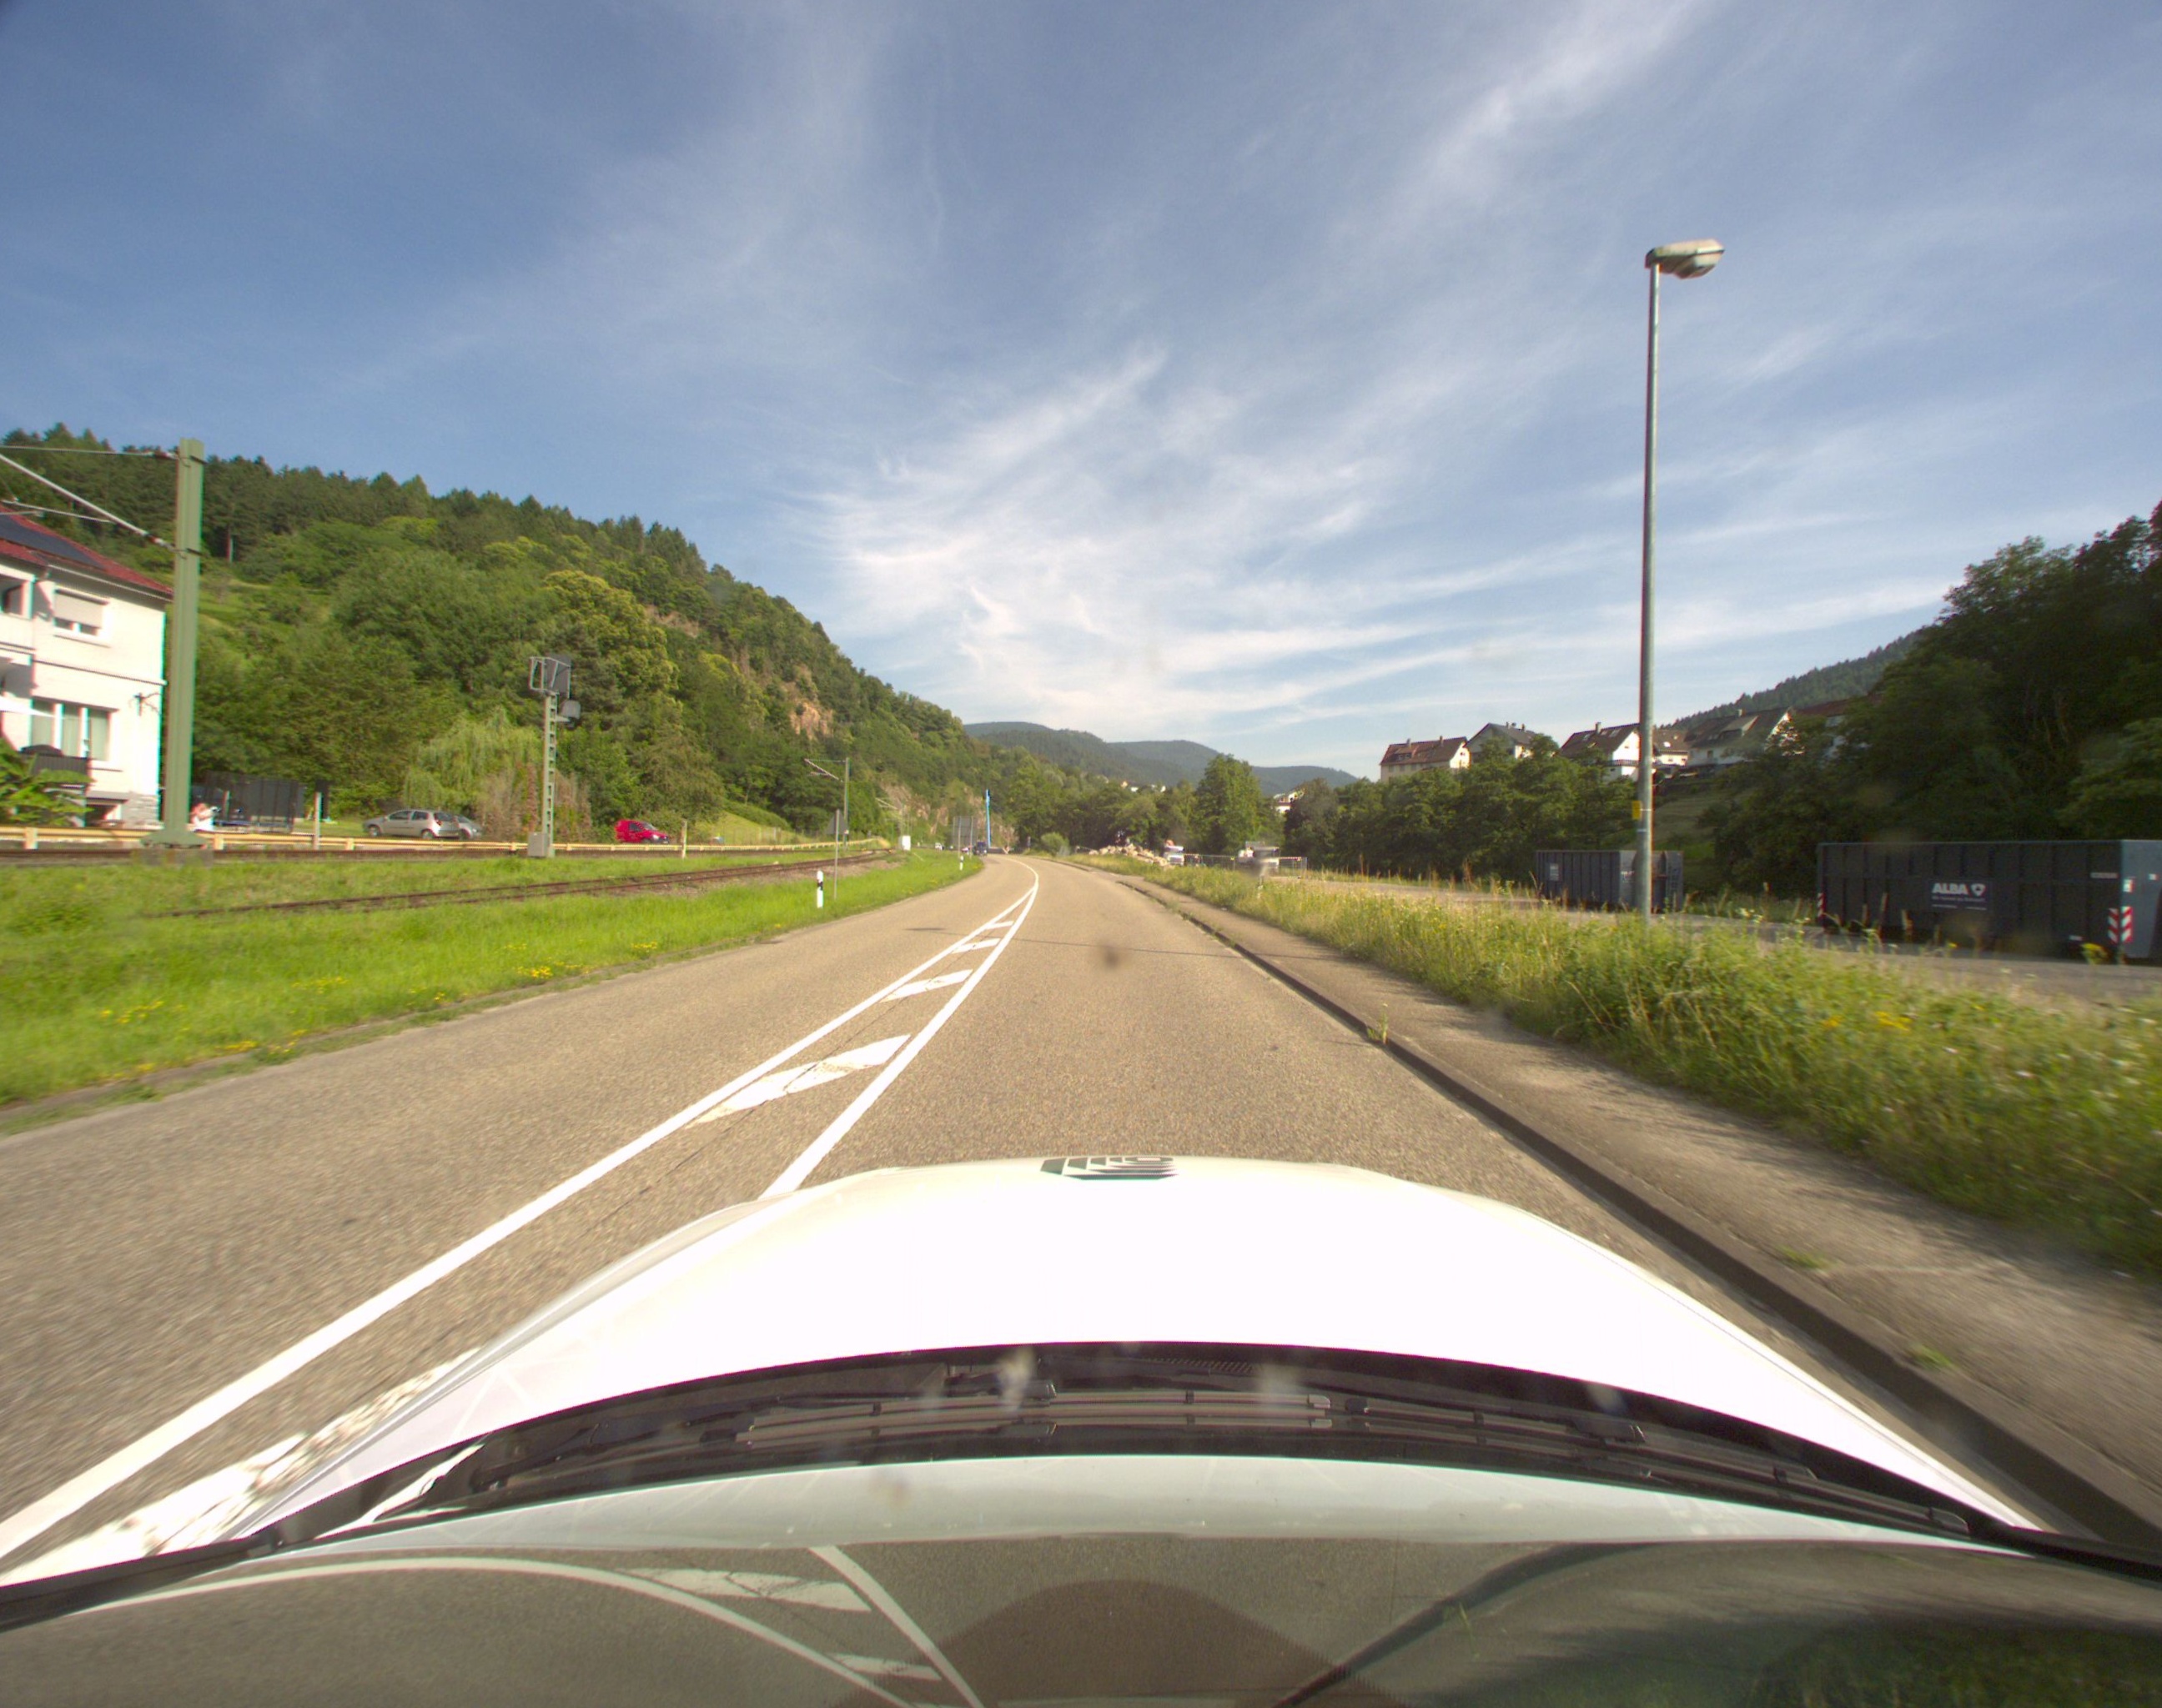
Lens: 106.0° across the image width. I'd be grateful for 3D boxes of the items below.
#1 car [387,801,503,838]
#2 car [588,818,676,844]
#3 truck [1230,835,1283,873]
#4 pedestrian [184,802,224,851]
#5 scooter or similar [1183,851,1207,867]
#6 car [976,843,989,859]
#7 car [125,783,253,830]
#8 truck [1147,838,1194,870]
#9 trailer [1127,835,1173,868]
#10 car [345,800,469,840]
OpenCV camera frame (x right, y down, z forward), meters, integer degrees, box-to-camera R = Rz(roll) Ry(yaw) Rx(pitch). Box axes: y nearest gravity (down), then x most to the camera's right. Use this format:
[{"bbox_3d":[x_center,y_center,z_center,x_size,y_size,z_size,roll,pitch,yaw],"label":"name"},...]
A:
[{"bbox_3d":[-31.933,-1.710,40.978,4.131,1.691,2.000,2,0,0],"label":"car"},{"bbox_3d":[-32.432,-1.633,58.899,4.944,1.691,2.457,2,0,2],"label":"car"},{"bbox_3d":[18.552,-0.012,86.629,3.097,3.782,8.631,2,0,-4],"label":"truck"},{"bbox_3d":[-29.612,-0.923,27.506,0.678,1.616,0.604,2,0,-22],"label":"pedestrian"},{"bbox_3d":[14.368,0.600,102.795,1.994,2.013,3.986,0,0,-10],"label":"scooter or similar"},{"bbox_3d":[-16.388,-0.513,135.857,2.125,2.615,5.466,-1,1,-7],"label":"car"},{"bbox_3d":[-41.761,-2.201,38.191,3.970,1.790,1.821,5,0,3],"label":"car"},{"bbox_3d":[11.265,-0.008,103.425,3.106,3.782,8.606,2,0,-13],"label":"truck"},{"bbox_3d":[9.346,-0.292,112.439,3.368,4.274,9.865,2,-1,-13],"label":"trailer"},{"bbox_3d":[-32.002,-1.600,38.740,4.131,1.691,2.000,2,0,0],"label":"car"}]
